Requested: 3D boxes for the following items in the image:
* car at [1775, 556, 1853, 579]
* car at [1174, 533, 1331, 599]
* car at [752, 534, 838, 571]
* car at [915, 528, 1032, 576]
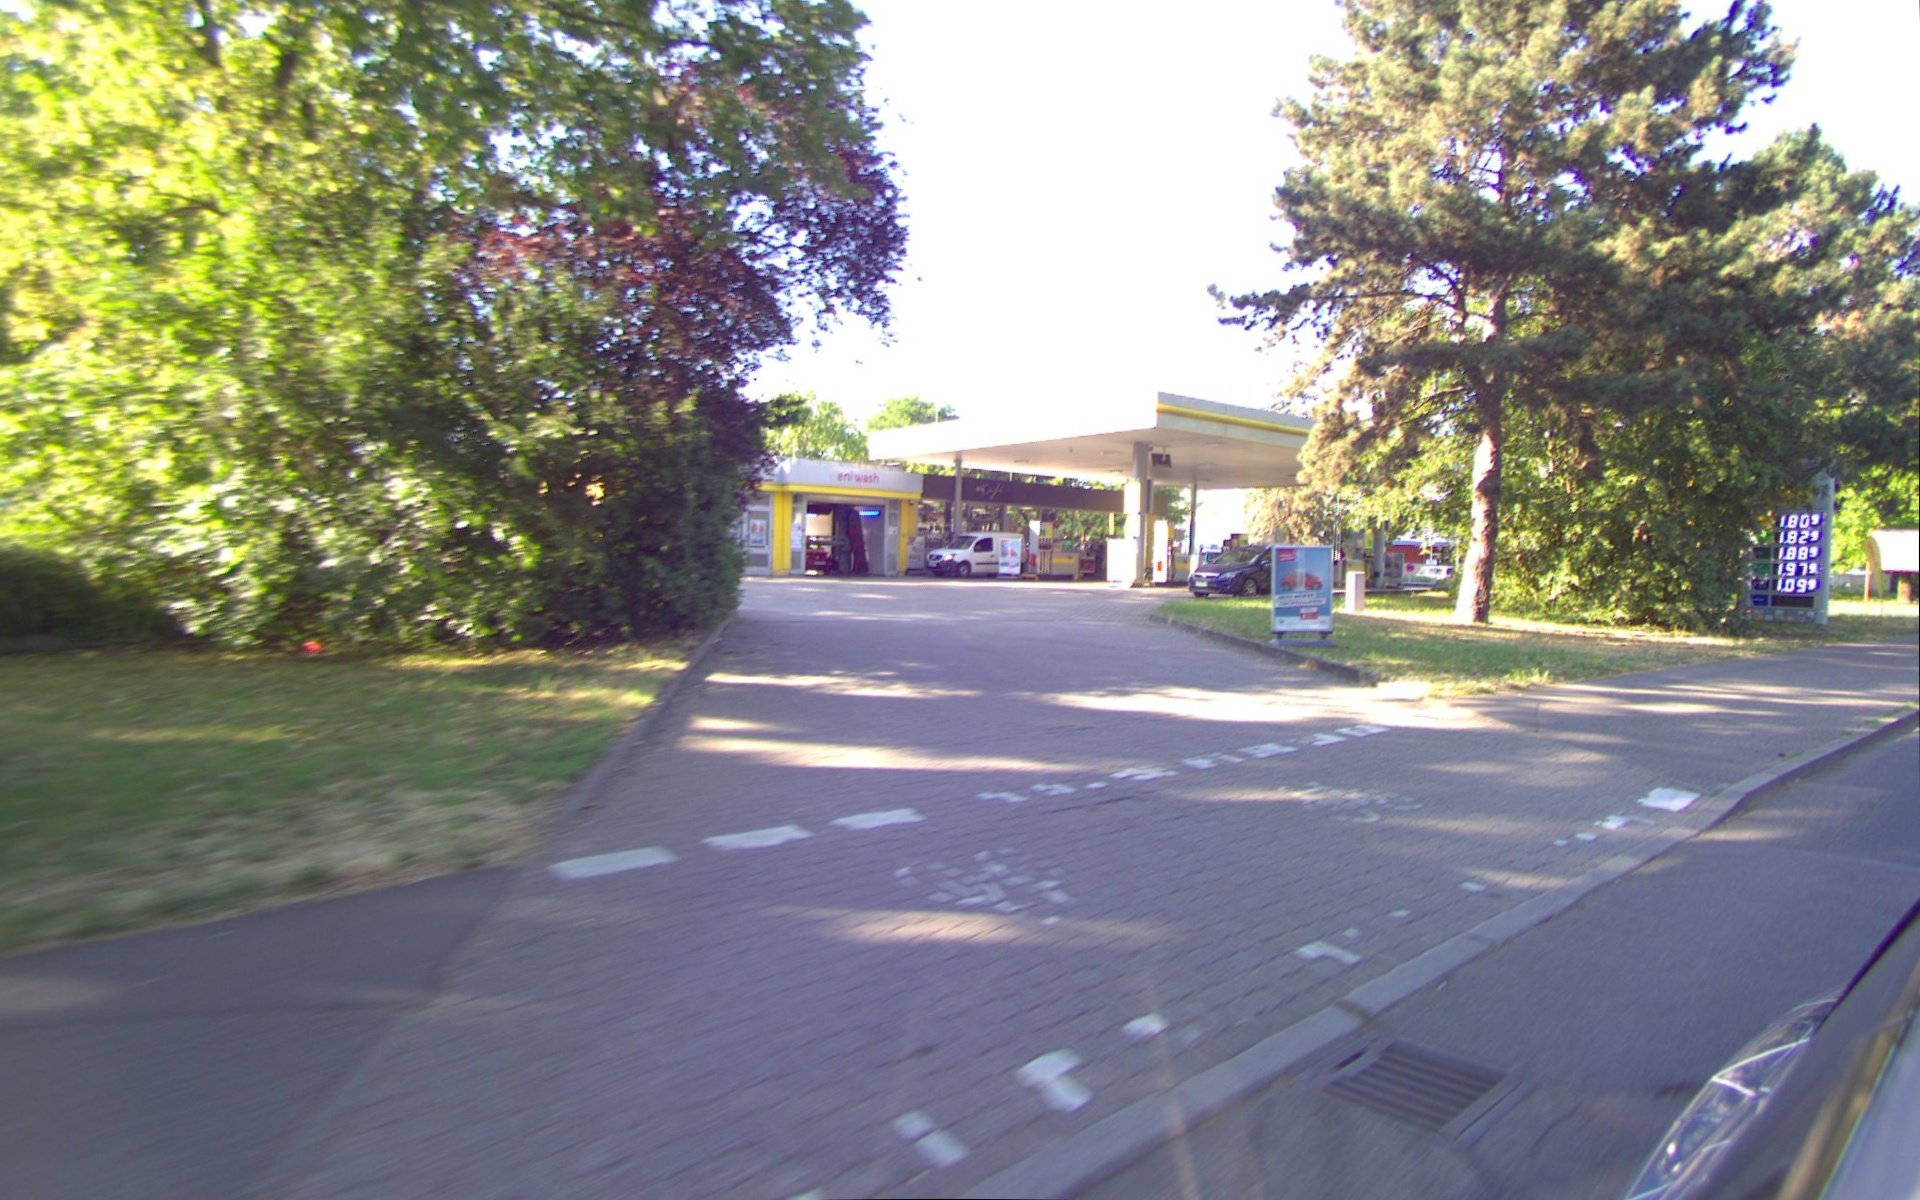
[{"bbox_3d":[63.619,-2.434,75.494,1.962,1.613,4.447,1,2,-1],"label":"car"},{"bbox_3d":[8.168,-0.934,28.083,4.393,1.667,1.930,0,3,-38],"label":"car"},{"bbox_3d":[-6.792,-1.970,41.379,1.852,1.389,4.001,-1,4,-36],"label":"car"},{"bbox_3d":[0.553,-1.885,39.366,4.316,1.748,1.819,-2,5,-36],"label":"car"}]
